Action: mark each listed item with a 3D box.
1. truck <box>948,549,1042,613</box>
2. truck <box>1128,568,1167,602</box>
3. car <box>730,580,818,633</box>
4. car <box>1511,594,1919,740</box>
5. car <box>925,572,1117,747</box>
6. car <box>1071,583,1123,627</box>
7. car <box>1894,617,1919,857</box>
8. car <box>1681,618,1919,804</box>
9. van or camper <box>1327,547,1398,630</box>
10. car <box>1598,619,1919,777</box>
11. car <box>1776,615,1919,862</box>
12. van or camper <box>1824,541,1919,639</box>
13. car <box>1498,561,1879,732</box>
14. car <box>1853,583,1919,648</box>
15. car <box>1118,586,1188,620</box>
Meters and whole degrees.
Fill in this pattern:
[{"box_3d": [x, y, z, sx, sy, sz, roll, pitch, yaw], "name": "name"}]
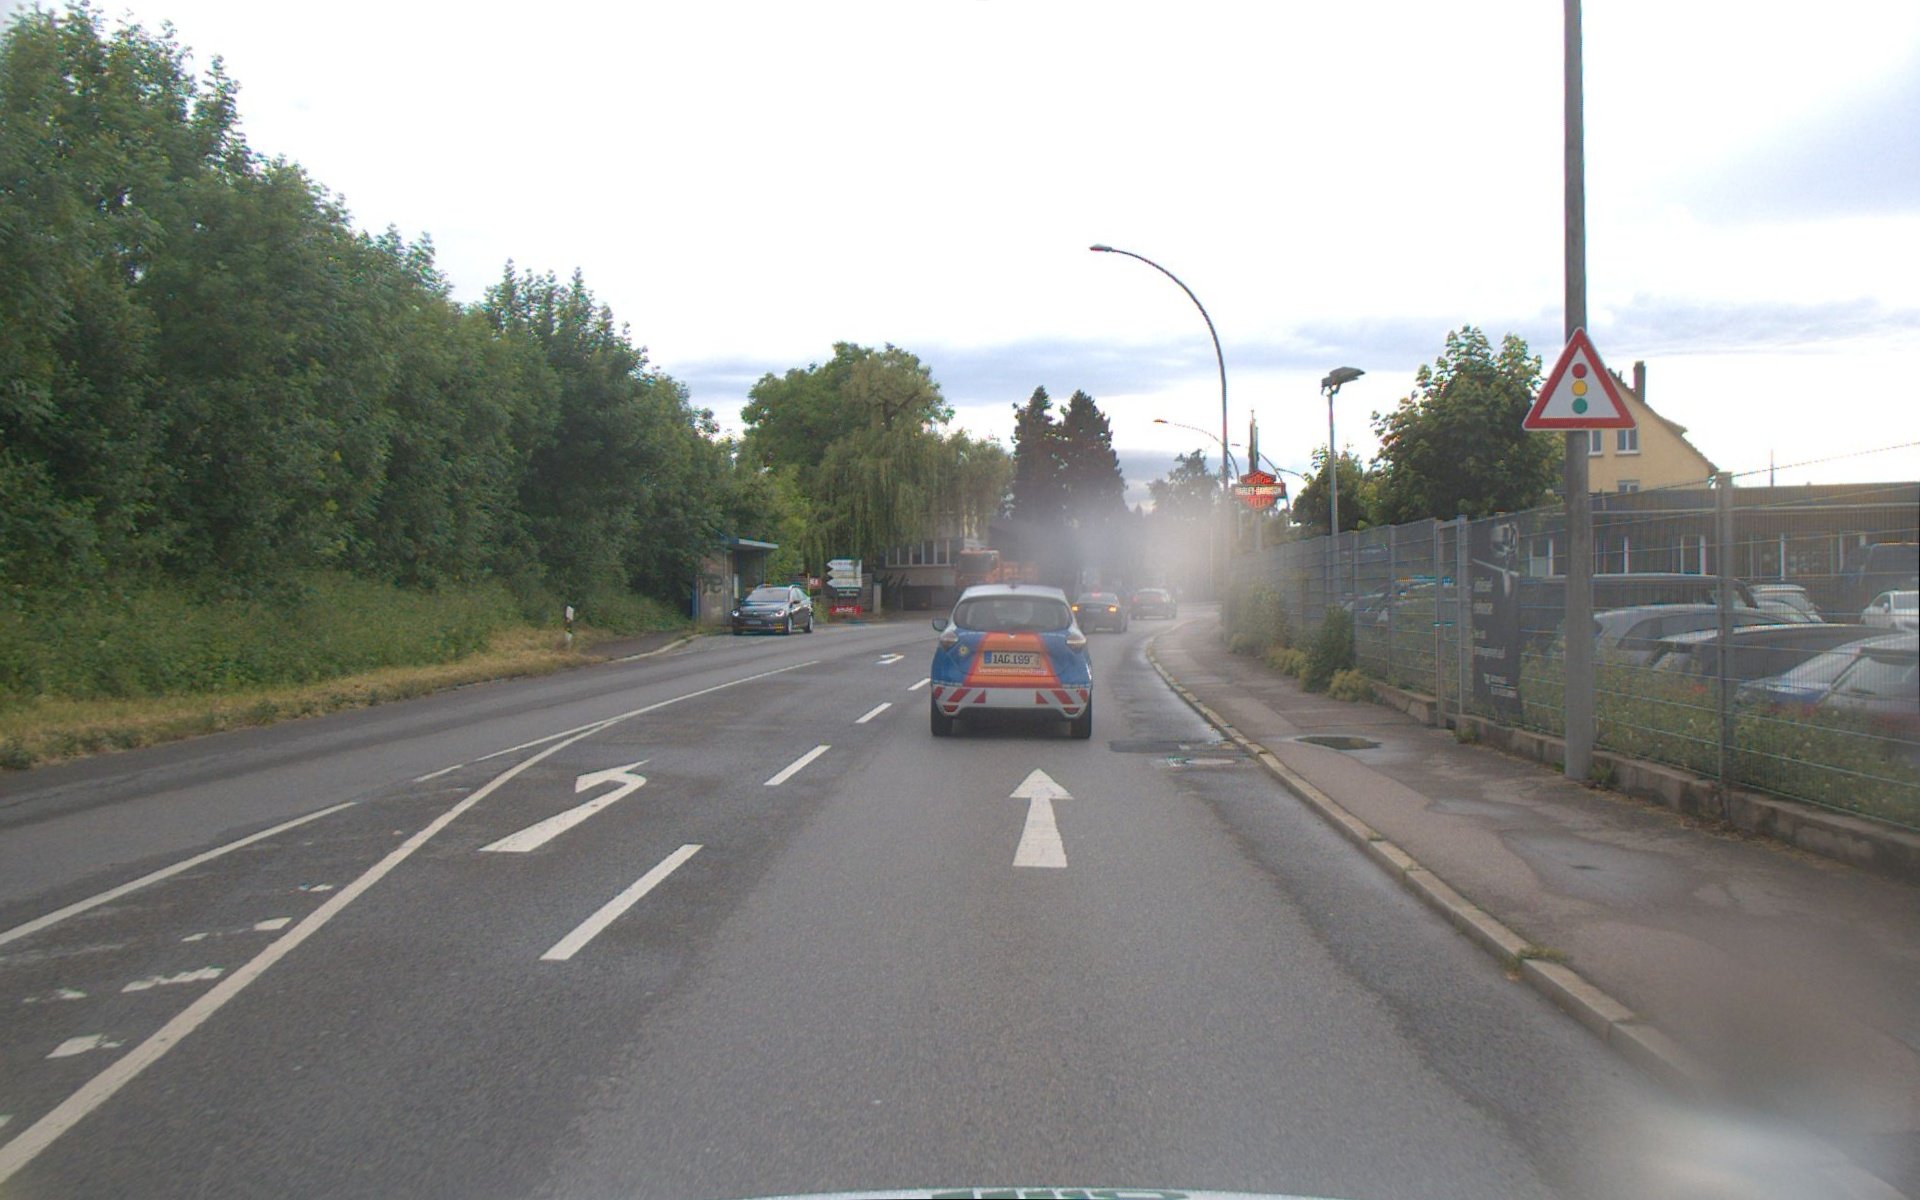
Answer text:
[{"box_3d": [2.229, -1.062, 100.337, 2.642, 3.471, 9.071, 2, -1, 21], "name": "truck"}, {"box_3d": [17.296, -1.357, 152.261, 2.344, 2.978, 5.959, 2, 0, 18], "name": "truck"}, {"box_3d": [-5.663, 0.230, 50.877, 1.952, 1.500, 4.701, 2, -1, 2], "name": "car"}, {"box_3d": [8.523, 0.739, 18.937, 3.902, 1.428, 1.791, 2, -1, 8], "name": "car"}, {"box_3d": [0.739, 0.578, 18.311, 1.849, 1.660, 4.002, 2, 0, 4], "name": "car"}, {"box_3d": [4.723, 0.199, 57.213, 1.684, 1.400, 3.936, 2, -1, 5], "name": "car"}, {"box_3d": [7.726, 0.885, 9.453, 3.907, 1.433, 1.592, 2, -1, -3], "name": "car"}, {"box_3d": [8.527, 0.956, 14.092, 3.903, 1.428, 2.001, 2, -1, 4], "name": "car"}, {"box_3d": [13.752, -0.406, 56.257, 1.998, 2.638, 6.594, -1, 0, 17], "name": "van or camper"}, {"box_3d": [8.723, 0.946, 16.695, 3.903, 1.459, 1.826, 0, 0, 4], "name": "car"}, {"box_3d": [8.352, 1.007, 11.780, 4.086, 1.626, 1.969, 2, -1, 3], "name": "car"}, {"box_3d": [26.015, -0.296, 46.457, 2.284, 2.602, 5.742, -1, 0, 19], "name": "van or camper"}, {"box_3d": [9.172, 0.577, 21.082, 4.049, 1.927, 1.774, 2, -1, 4], "name": "car"}, {"box_3d": [23.433, 0.412, 40.327, 1.850, 1.445, 4.468, 2, -1, 14], "name": "car"}, {"box_3d": [9.007, 0.154, 76.880, 1.955, 1.445, 3.995, 2, -1, 26], "name": "car"}]
